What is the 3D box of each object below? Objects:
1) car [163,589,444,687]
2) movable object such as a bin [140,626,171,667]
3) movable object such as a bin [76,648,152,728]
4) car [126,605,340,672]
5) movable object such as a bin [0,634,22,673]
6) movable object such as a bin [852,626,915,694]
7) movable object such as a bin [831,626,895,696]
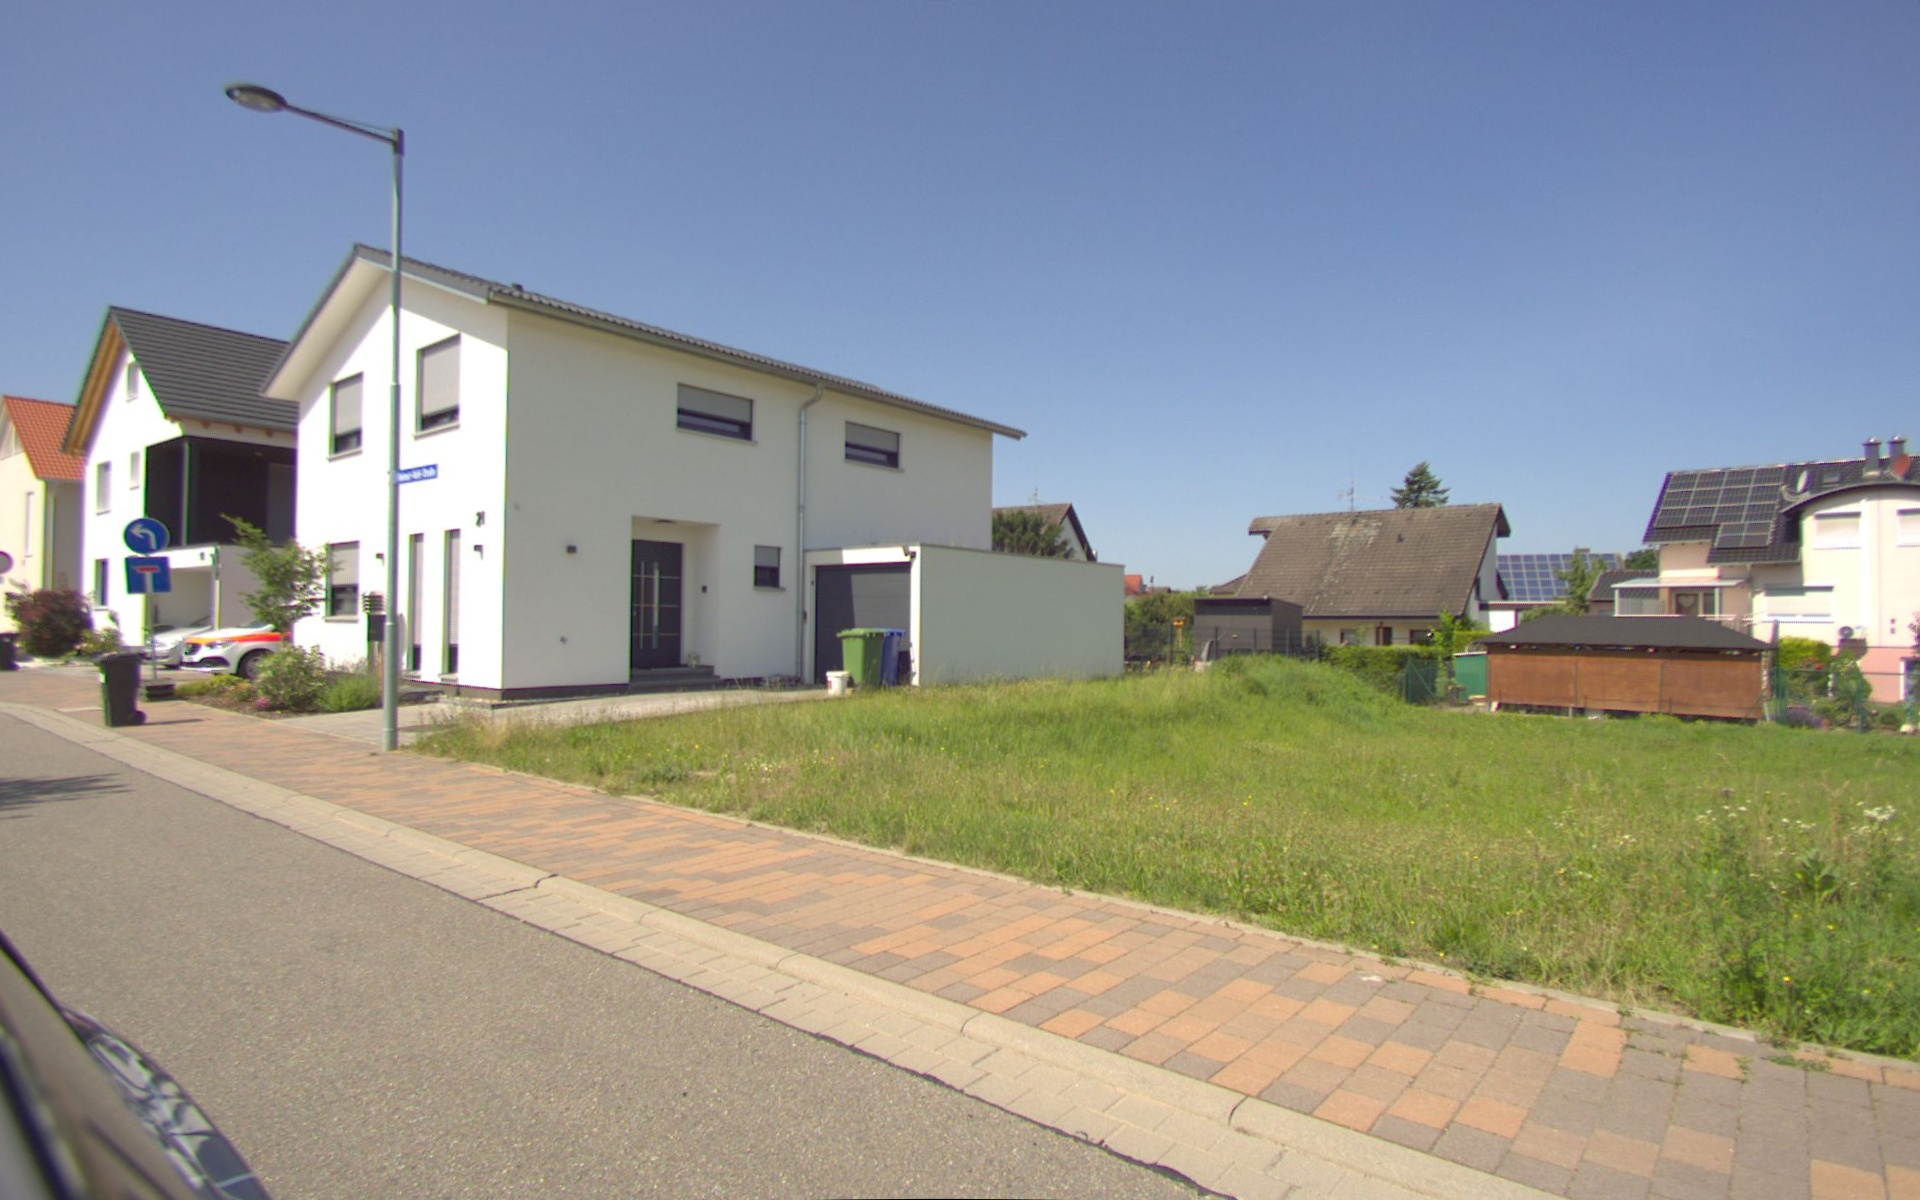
[{"bbox_3d":[-14.010,0.810,21.876,1.935,1.889,4.692,0,-2,37],"label":"car"},{"bbox_3d":[-21.686,1.248,27.275,0.600,1.100,0.494,-2,-3,35],"label":"movable object such as a bin"},{"bbox_3d":[-10.772,1.106,12.889,0.499,0.955,0.617,1,-1,35],"label":"movable object such as a bin"},{"bbox_3d":[-18.632,0.989,26.124,1.741,1.574,4.117,-1,-2,34],"label":"car"},{"bbox_3d":[-23.111,1.286,24.403,0.563,0.944,0.611,-1,-2,35],"label":"movable object such as a bin"},{"bbox_3d":[-1.294,1.000,17.128,0.807,1.107,0.663,-1,-3,41],"label":"movable object such as a bin"},{"bbox_3d":[-1.588,0.985,16.567,0.784,1.107,0.653,-1,-3,39],"label":"movable object such as a bin"}]
